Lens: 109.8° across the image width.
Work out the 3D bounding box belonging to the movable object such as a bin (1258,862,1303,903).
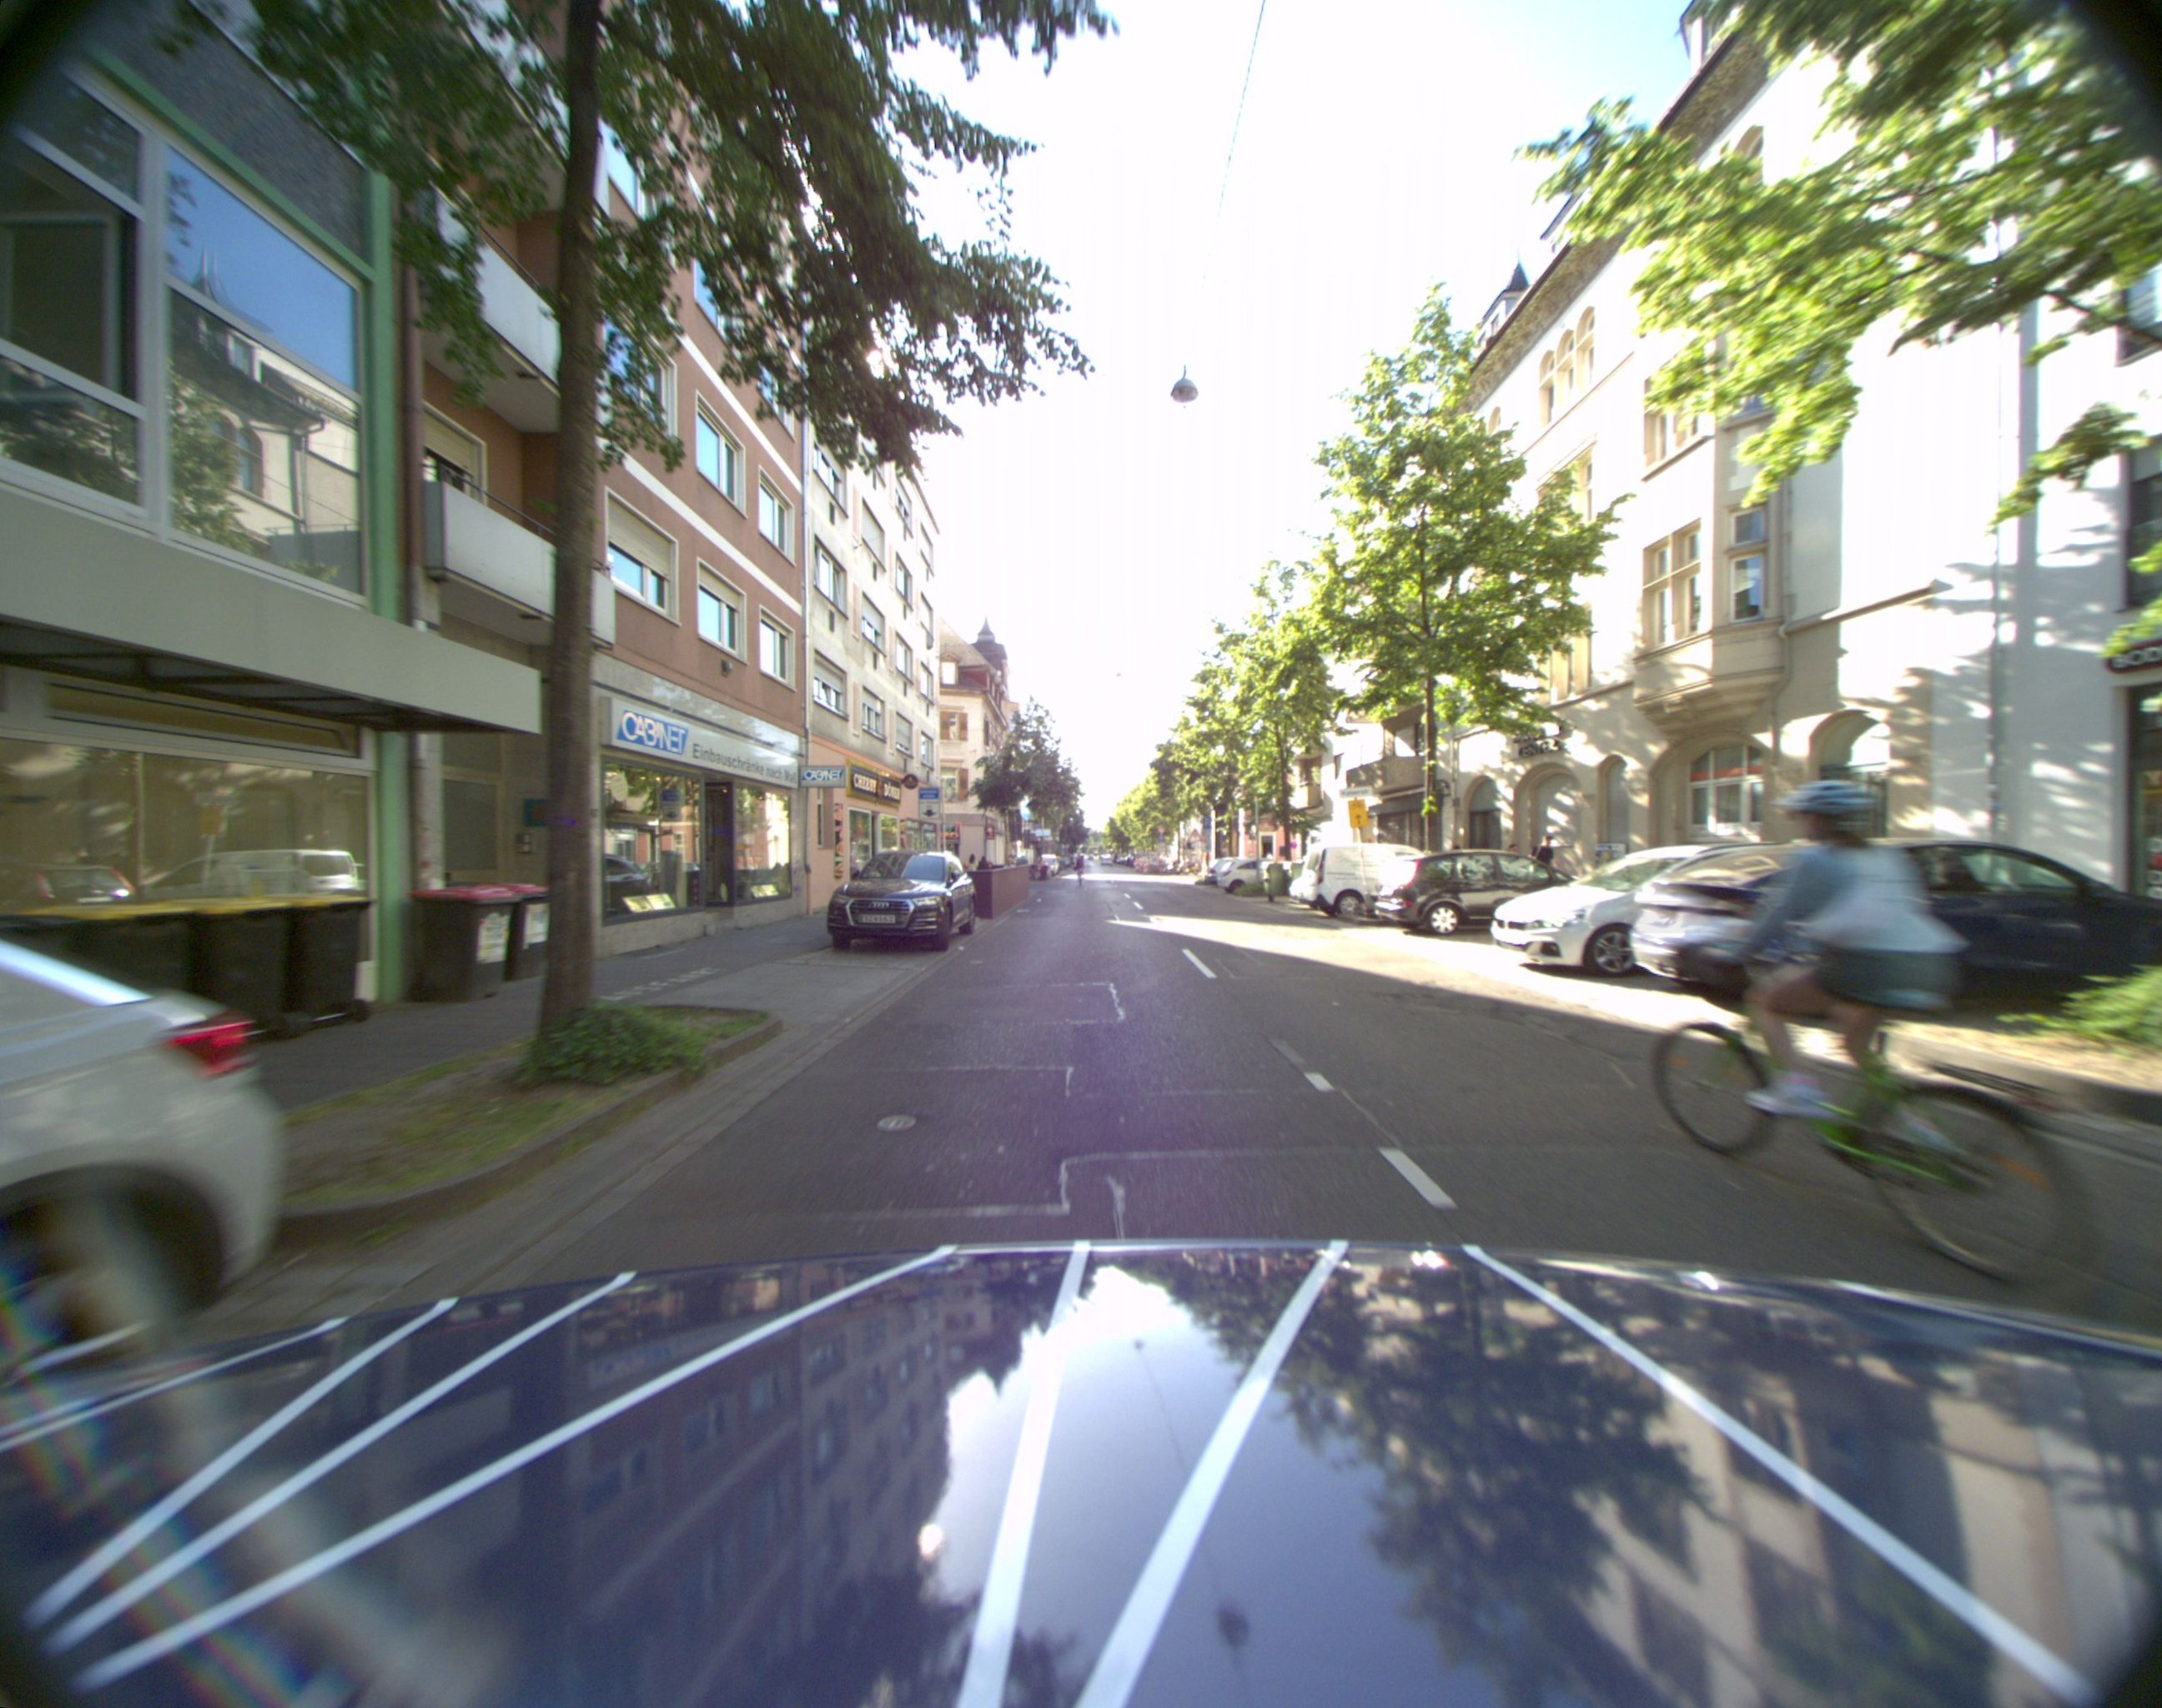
[{"bbox_3d":[6.650,0.942,25.377,1.240,1.295,0.870,-1,1,0],"label":"movable object such as a bin"}]

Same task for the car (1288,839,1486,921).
[{"bbox_3d":[7.496,0.616,18.955,4.115,1.825,2.038,-1,0,1],"label":"car"}]

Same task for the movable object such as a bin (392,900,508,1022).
[{"bbox_3d":[-6.054,1.006,7.316,0.627,1.088,0.573,0,1,2],"label":"movable object such as a bin"}]

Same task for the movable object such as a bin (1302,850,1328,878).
[{"bbox_3d":[12.223,0.508,39.742,1.035,1.451,1.258,0,0,2],"label":"movable object such as a bin"}]

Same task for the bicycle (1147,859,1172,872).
[{"bbox_3d":[6.611,0.999,64.266,2.006,1.023,0.473,-2,1,-12],"label":"bicycle"}]

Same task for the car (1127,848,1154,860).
[{"bbox_3d":[9.331,0.013,119.895,4.134,1.792,1.911,-1,1,0],"label":"car"}]

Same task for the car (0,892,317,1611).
[{"bbox_3d":[-3.295,0.881,0.205,1.888,1.518,4.233,2,0,0],"label":"car"}]

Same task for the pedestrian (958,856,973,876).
[{"bbox_3d":[-7.311,0.768,48.165,0.714,1.252,0.589,-2,3,-39],"label":"pedestrian"}]

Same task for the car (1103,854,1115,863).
[{"bbox_3d":[4.669,0.778,125.810,1.835,1.410,3.833,0,0,1],"label":"car"}]

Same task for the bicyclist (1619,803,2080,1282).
[{"bbox_3d":[3.157,0.669,3.320,0.727,1.690,1.282,-1,0,1],"label":"bicyclist"}]

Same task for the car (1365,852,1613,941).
[{"bbox_3d":[7.705,0.765,14.636,3.809,1.549,1.792,-1,0,1],"label":"car"}]

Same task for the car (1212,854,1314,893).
[{"bbox_3d":[7.534,0.785,31.693,3.788,1.455,1.710,-1,0,-2],"label":"car"}]

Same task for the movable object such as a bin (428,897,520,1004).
[{"bbox_3d":[-6.383,0.999,8.011,0.500,1.058,0.573,0,1,2],"label":"movable object such as a bin"}]

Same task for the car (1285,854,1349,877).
[{"bbox_3d":[15.656,0.758,50.437,3.606,1.468,1.901,0,0,-22],"label":"car"}]

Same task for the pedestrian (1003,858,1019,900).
[{"bbox_3d":[-2.567,0.915,27.869,0.474,1.520,0.462,-1,1,1],"label":"pedestrian"}]

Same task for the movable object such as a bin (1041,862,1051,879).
[{"bbox_3d":[-2.369,1.105,51.360,0.634,1.062,0.602,1,3,2],"label":"movable object such as a bin"}]

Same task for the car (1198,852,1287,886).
[{"bbox_3d":[7.916,0.735,37.585,4.008,1.456,1.748,-2,2,1],"label":"car"}]

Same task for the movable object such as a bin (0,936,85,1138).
[{"bbox_3d":[-6.176,1.011,4.176,0.615,1.058,0.589,0,1,2],"label":"movable object such as a bin"}]

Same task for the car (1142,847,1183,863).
[{"bbox_3d":[8.697,0.121,81.141,4.134,1.670,2.000,-1,1,0],"label":"car"}]

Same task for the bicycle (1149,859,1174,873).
[{"bbox_3d":[6.734,0.996,63.745,2.006,1.023,0.473,-2,1,-12],"label":"bicycle"}]

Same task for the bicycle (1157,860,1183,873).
[{"bbox_3d":[7.211,1.007,61.366,2.006,1.023,0.473,-2,1,-12],"label":"bicycle"}]

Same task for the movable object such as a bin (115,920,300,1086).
[{"bbox_3d":[-6.147,1.025,5.377,0.615,1.058,0.589,0,1,2],"label":"movable object such as a bin"}]

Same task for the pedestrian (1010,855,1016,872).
[{"bbox_3d":[-5.957,0.816,66.504,0.460,1.434,0.521,-1,1,-1],"label":"pedestrian"}]

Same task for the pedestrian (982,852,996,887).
[{"bbox_3d":[-4.348,0.707,35.909,0.515,1.635,0.748,1,1,0],"label":"pedestrian"}]

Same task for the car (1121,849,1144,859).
[{"bbox_3d":[9.496,-0.077,140.855,4.134,1.792,1.911,-1,1,0],"label":"car"}]

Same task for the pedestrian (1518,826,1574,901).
[{"bbox_3d":[11.523,0.230,18.845,0.776,1.756,0.763,-5,1,-1],"label":"pedestrian"}]

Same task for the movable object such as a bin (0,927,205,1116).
[{"bbox_3d":[-6.163,1.017,4.778,0.615,1.058,0.589,0,1,2],"label":"movable object such as a bin"}]

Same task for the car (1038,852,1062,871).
[{"bbox_3d":[-2.627,0.629,65.904,1.835,1.641,4.159,1,0,1],"label":"car"}]

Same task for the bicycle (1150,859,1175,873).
[{"bbox_3d":[6.824,0.997,63.303,2.006,1.023,0.473,-2,1,-12],"label":"bicycle"}]

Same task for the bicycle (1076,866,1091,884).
[{"bbox_3d":[0.120,1.131,41.592,0.805,0.958,1.996,-2,0,-1],"label":"bicycle"}]

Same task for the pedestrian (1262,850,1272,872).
[{"bbox_3d":[14.547,0.552,59.385,0.630,1.716,0.580,0,1,-3],"label":"pedestrian"}]

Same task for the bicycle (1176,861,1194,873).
[{"bbox_3d":[8.539,1.046,62.603,1.513,0.945,0.360,-2,1,41],"label":"bicycle"}]

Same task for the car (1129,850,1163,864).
[{"bbox_3d":[8.257,0.382,97.083,4.134,1.585,1.911,-1,1,0],"label":"car"}]

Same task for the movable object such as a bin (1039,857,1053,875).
[{"bbox_3d":[-2.422,0.829,52.807,0.944,1.207,0.699,1,2,1],"label":"movable object such as a bin"}]

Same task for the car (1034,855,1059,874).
[{"bbox_3d":[-2.701,0.816,60.517,1.835,1.410,4.159,1,0,0],"label":"car"}]

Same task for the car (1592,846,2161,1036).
[{"bbox_3d":[7.861,0.735,7.438,4.377,1.561,1.980,-1,0,1],"label":"car"}]

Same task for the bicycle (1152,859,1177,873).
[{"bbox_3d":[6.918,0.996,62.880,2.006,1.023,0.473,-2,1,-12],"label":"bicycle"}]

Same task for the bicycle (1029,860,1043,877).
[{"bbox_3d":[-3.056,0.969,51.100,0.378,1.139,1.670,0,1,-24],"label":"bicycle"}]

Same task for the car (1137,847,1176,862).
[{"bbox_3d":[8.577,0.064,86.622,4.134,1.670,2.000,-1,1,0],"label":"car"}]

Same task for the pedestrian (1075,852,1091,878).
[{"bbox_3d":[0.114,0.612,41.631,0.804,1.381,0.931,-2,0,-1],"label":"pedestrian"}]

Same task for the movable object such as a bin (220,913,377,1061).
[{"bbox_3d":[-6.133,1.017,5.983,0.612,1.058,0.589,0,1,2],"label":"movable object such as a bin"}]

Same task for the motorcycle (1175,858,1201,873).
[{"bbox_3d":[8.547,0.916,60.597,2.003,1.178,0.740,-2,0,3],"label":"motorcycle"}]

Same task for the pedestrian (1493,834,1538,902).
[{"bbox_3d":[10.777,0.348,18.855,0.566,1.617,0.727,-5,1,-1],"label":"pedestrian"}]

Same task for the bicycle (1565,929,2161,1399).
[{"bbox_3d":[3.163,1.020,3.326,0.727,1.162,2.197,-1,0,1],"label":"bicycle"}]

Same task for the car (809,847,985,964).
[{"bbox_3d":[-3.051,0.769,13.690,1.998,1.680,4.516,3,0,0],"label":"car"}]

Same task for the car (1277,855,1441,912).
[{"bbox_3d":[7.847,0.800,21.727,3.989,1.455,1.887,-1,0,1],"label":"car"}]

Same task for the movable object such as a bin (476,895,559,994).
[{"bbox_3d":[-6.363,1.004,8.597,0.500,1.058,0.573,0,1,2],"label":"movable object such as a bin"}]

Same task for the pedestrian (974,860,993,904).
[{"bbox_3d":[-3.103,0.892,24.115,0.474,1.354,0.594,-1,1,1],"label":"pedestrian"}]

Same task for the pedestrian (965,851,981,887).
[{"bbox_3d":[-5.110,0.704,35.888,0.643,1.635,0.748,1,1,0],"label":"pedestrian"}]

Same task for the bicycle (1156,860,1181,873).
[{"bbox_3d":[7.118,1.018,61.896,2.006,1.023,0.473,-2,1,-12],"label":"bicycle"}]

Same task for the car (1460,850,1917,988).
[{"bbox_3d":[7.627,0.768,9.911,4.377,1.561,1.946,-1,0,1],"label":"car"}]

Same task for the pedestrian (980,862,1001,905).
[{"bbox_3d":[-2.970,0.951,24.988,0.553,1.371,0.594,-1,1,1],"label":"pedestrian"}]

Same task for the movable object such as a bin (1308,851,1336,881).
[{"bbox_3d":[12.163,0.593,38.393,1.035,1.451,1.258,0,0,2],"label":"movable object such as a bin"}]

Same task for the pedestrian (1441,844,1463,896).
[{"bbox_3d":[12.161,0.514,24.907,0.434,1.662,0.639,-1,1,3],"label":"pedestrian"}]

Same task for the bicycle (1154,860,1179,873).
[{"bbox_3d":[7.017,1.005,62.380,2.006,1.023,0.473,-2,1,-12],"label":"bicycle"}]

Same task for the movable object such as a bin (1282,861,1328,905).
[{"bbox_3d":[7.171,0.915,24.347,1.195,1.337,0.931,-1,1,0],"label":"movable object such as a bin"}]
